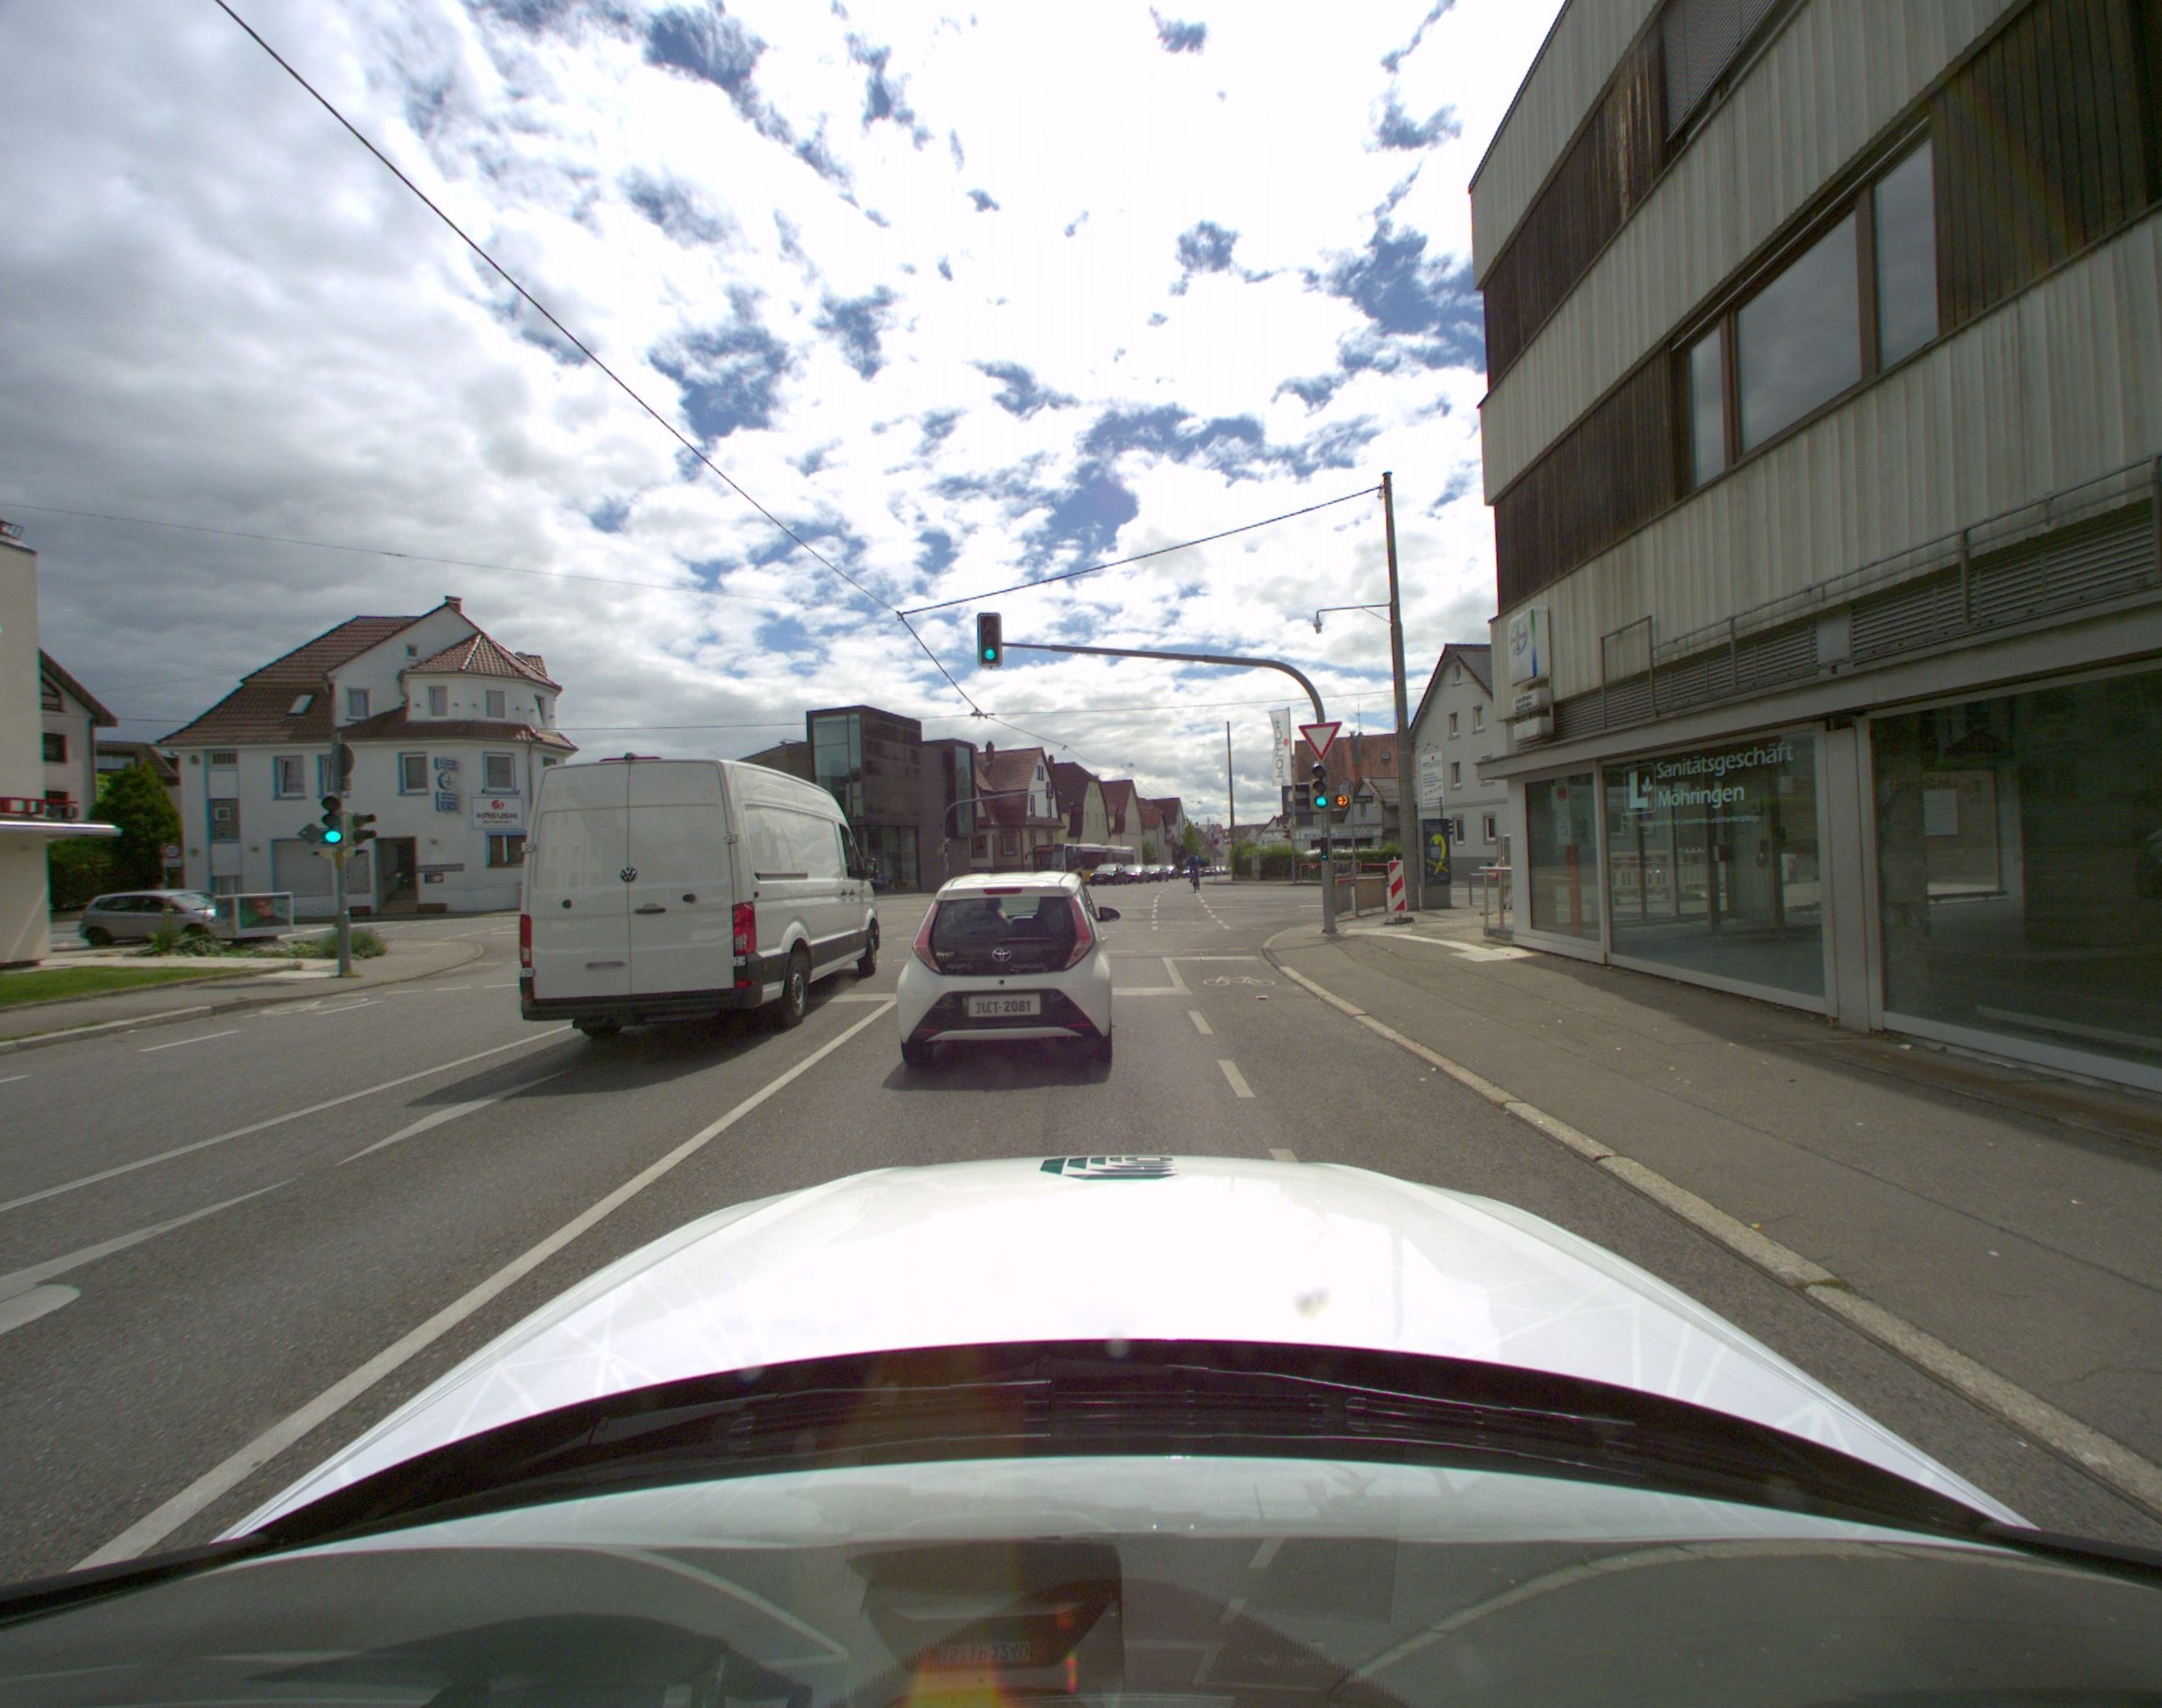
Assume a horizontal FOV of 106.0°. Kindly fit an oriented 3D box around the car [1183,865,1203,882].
[{"bbox_3d":[13.958,2.408,101.100,1.979,2.014,4.016,-1,0,15],"label":"car"}]

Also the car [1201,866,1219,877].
[{"bbox_3d":[19.846,2.721,125.501,1.977,1.640,4.020,-1,0,19],"label":"car"}]

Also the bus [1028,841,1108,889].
[{"bbox_3d":[-0.728,0.716,57.777,2.756,3.060,9.233,-1,0,17],"label":"bus"}]

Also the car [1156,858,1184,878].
[{"bbox_3d":[9.531,1.493,87.017,1.976,2.014,4.021,-2,0,22],"label":"car"}]

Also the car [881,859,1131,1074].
[{"bbox_3d":[-0.537,0.810,7.568,1.733,1.460,3.531,-2,0,0],"label":"car"}]

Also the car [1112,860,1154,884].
[{"bbox_3d":[3.854,1.281,60.054,1.977,1.640,4.204,-1,0,19],"label":"car"}]

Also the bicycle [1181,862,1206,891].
[{"bbox_3d":[4.872,0.968,35.323,0.828,1.164,2.193,-2,0,3],"label":"bicycle"}]

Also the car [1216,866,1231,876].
[{"bbox_3d":[24.605,2.909,140.457,1.977,1.640,4.020,-1,0,19],"label":"car"}]

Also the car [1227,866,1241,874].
[{"bbox_3d":[30.335,3.180,161.389,1.977,1.640,4.020,-1,0,19],"label":"car"}]

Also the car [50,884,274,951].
[{"bbox_3d":[-26.567,1.797,23.684,3.981,1.684,1.996,-2,0,-5],"label":"car"}]

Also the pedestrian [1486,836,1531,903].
[{"bbox_3d":[10.704,0.389,20.421,0.827,1.637,0.878,-2,-1,18],"label":"pedestrian"}]

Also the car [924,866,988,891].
[{"bbox_3d":[-8.789,1.715,57.286,3.957,1.640,2.008,-1,0,15],"label":"car"}]

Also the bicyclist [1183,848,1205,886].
[{"bbox_3d":[4.878,0.565,35.234,0.837,1.614,1.083,1,-1,2],"label":"bicyclist"}]

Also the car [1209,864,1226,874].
[{"bbox_3d":[22.420,2.459,133.822,1.977,1.640,4.020,-1,0,19],"label":"car"}]

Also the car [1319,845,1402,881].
[{"bbox_3d":[15.841,0.503,46.230,3.984,1.948,1.995,-1,-1,-8],"label":"car"}]

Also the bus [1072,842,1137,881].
[{"bbox_3d":[2.081,0.585,66.728,2.756,2.915,9.233,-1,0,17],"label":"bus"}]

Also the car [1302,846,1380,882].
[{"bbox_3d":[15.491,0.588,48.652,3.983,2.014,1.995,-1,-1,-7],"label":"car"}]

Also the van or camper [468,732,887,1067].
[{"bbox_3d":[-3.907,0.373,9.377,2.102,2.586,5.639,-3,0,-3],"label":"van or camper"}]

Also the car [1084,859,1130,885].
[{"bbox_3d":[1.786,1.210,54.902,1.977,1.640,4.020,-1,0,19],"label":"car"}]

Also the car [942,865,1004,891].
[{"bbox_3d":[-7.938,1.754,59.900,3.957,1.684,2.008,-3,-1,15],"label":"car"}]

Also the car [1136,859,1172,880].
[{"bbox_3d":[6.033,1.254,67.182,1.977,1.640,4.020,-1,0,19],"label":"car"}]
